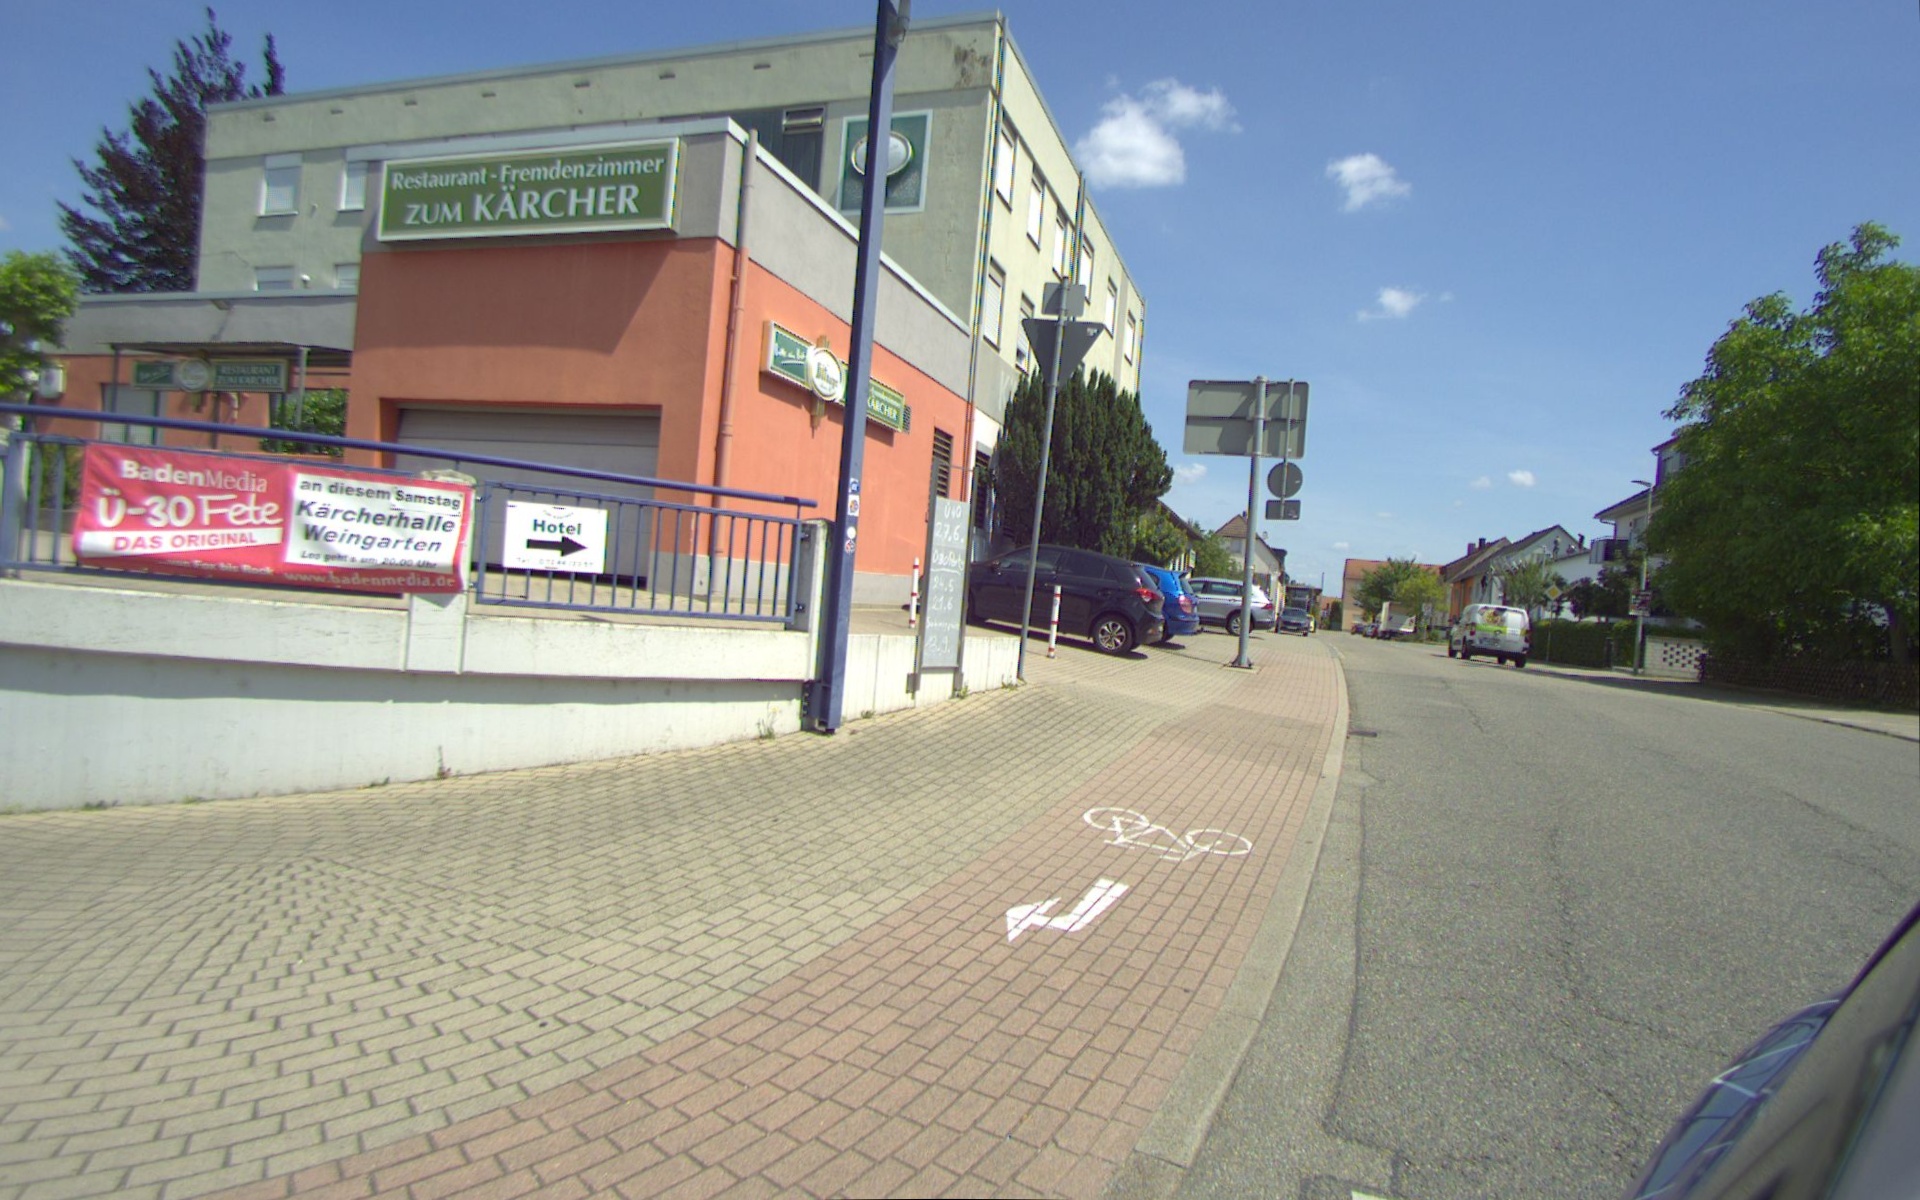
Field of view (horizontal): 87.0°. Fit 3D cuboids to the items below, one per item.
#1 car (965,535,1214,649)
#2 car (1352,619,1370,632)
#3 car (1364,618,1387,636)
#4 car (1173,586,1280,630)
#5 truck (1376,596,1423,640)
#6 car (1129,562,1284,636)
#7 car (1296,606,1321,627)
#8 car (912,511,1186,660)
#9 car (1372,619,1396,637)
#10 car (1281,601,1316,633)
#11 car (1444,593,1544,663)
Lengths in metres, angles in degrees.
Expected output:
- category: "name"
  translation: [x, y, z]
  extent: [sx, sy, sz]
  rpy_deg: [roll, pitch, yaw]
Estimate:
- category: "car"
  translation: [2.468, -0.207, 19.172]
  extent: [4.286, 1.456, 1.769]
  rpy_deg: [9, 4, 19]
- category: "car"
  translation: [52.736, 3.305, 133.109]
  extent: [1.701, 1.518, 4.189]
  rpy_deg: [7, 1, 18]
- category: "car"
  translation: [42.903, 2.781, 104.489]
  extent: [1.701, 1.518, 4.189]
  rpy_deg: [7, 1, 18]
- category: "car"
  translation: [12.159, 0.362, 46.194]
  extent: [4.488, 1.471, 1.905]
  rpy_deg: [7, 1, 20]
- category: "truck"
  translation: [36.940, 1.506, 85.242]
  extent: [2.415, 3.284, 6.997]
  rpy_deg: [8, 1, 17]
- category: "car"
  translation: [7.664, -0.032, 31.438]
  extent: [4.412, 1.717, 1.911]
  rpy_deg: [7, 1, 18]
- category: "car"
  translation: [28.615, 1.379, 83.148]
  extent: [1.702, 1.414, 4.187]
  rpy_deg: [9, 2, 19]
- category: "car"
  translation: [1.444, -0.268, 16.090]
  extent: [3.863, 1.506, 1.799]
  rpy_deg: [12, 4, 18]
- category: "car"
  translation: [41.205, 2.675, 98.388]
  extent: [1.701, 1.518, 4.189]
  rpy_deg: [7, 1, 18]
- category: "car"
  translation: [18.472, 0.927, 55.384]
  extent: [1.612, 1.507, 4.115]
  rpy_deg: [6, 1, 18]
- category: "car"
  translation: [17.273, 0.877, 32.970]
  extent: [1.795, 1.877, 4.535]
  rpy_deg: [8, 1, 16]
